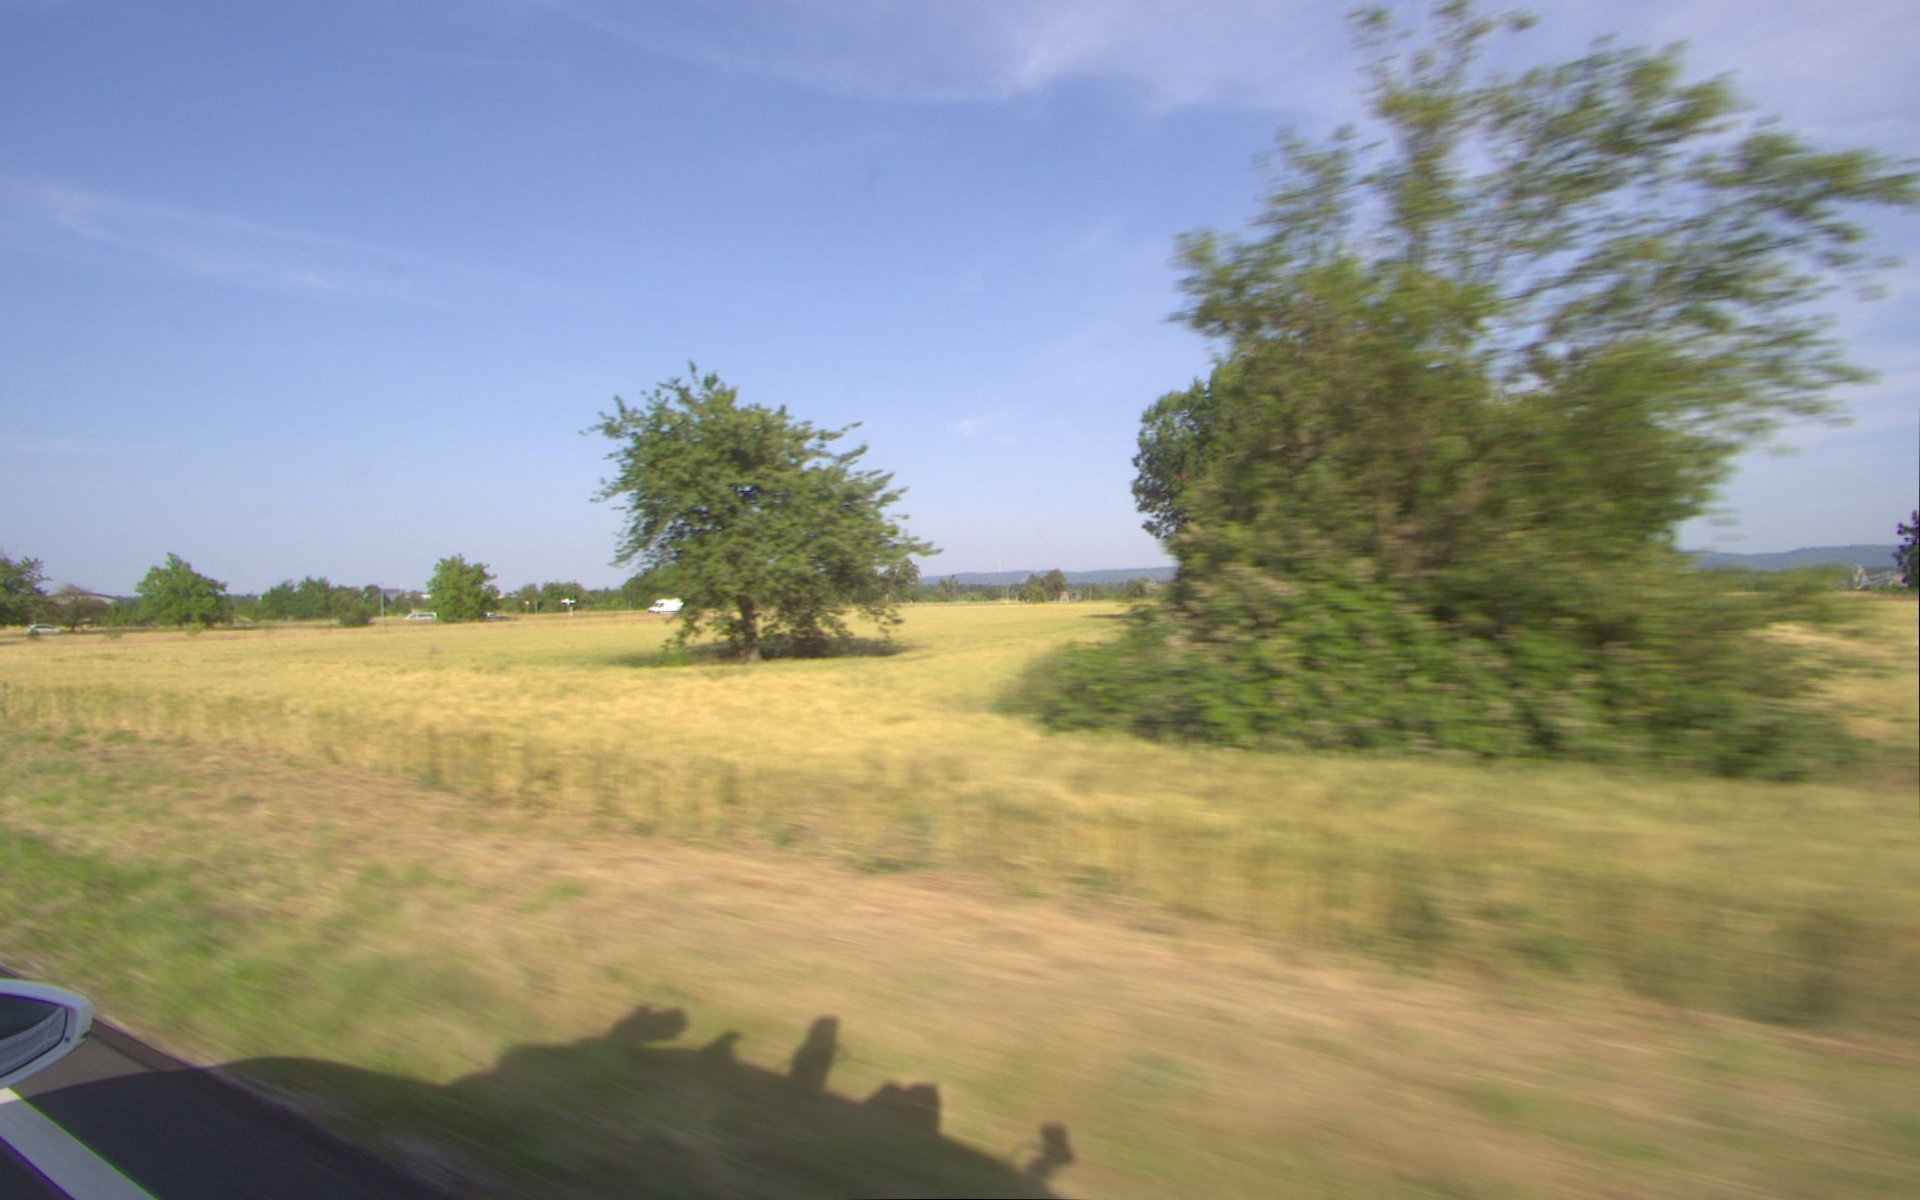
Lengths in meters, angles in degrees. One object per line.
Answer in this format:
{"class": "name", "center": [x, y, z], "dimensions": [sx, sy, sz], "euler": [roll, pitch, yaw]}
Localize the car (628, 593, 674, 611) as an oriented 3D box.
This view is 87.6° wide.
{"class": "car", "center": [-50.994, 0.396, 165.435], "dimensions": [2.295, 2.831, 6.977], "euler": [-1, -2, 44]}
